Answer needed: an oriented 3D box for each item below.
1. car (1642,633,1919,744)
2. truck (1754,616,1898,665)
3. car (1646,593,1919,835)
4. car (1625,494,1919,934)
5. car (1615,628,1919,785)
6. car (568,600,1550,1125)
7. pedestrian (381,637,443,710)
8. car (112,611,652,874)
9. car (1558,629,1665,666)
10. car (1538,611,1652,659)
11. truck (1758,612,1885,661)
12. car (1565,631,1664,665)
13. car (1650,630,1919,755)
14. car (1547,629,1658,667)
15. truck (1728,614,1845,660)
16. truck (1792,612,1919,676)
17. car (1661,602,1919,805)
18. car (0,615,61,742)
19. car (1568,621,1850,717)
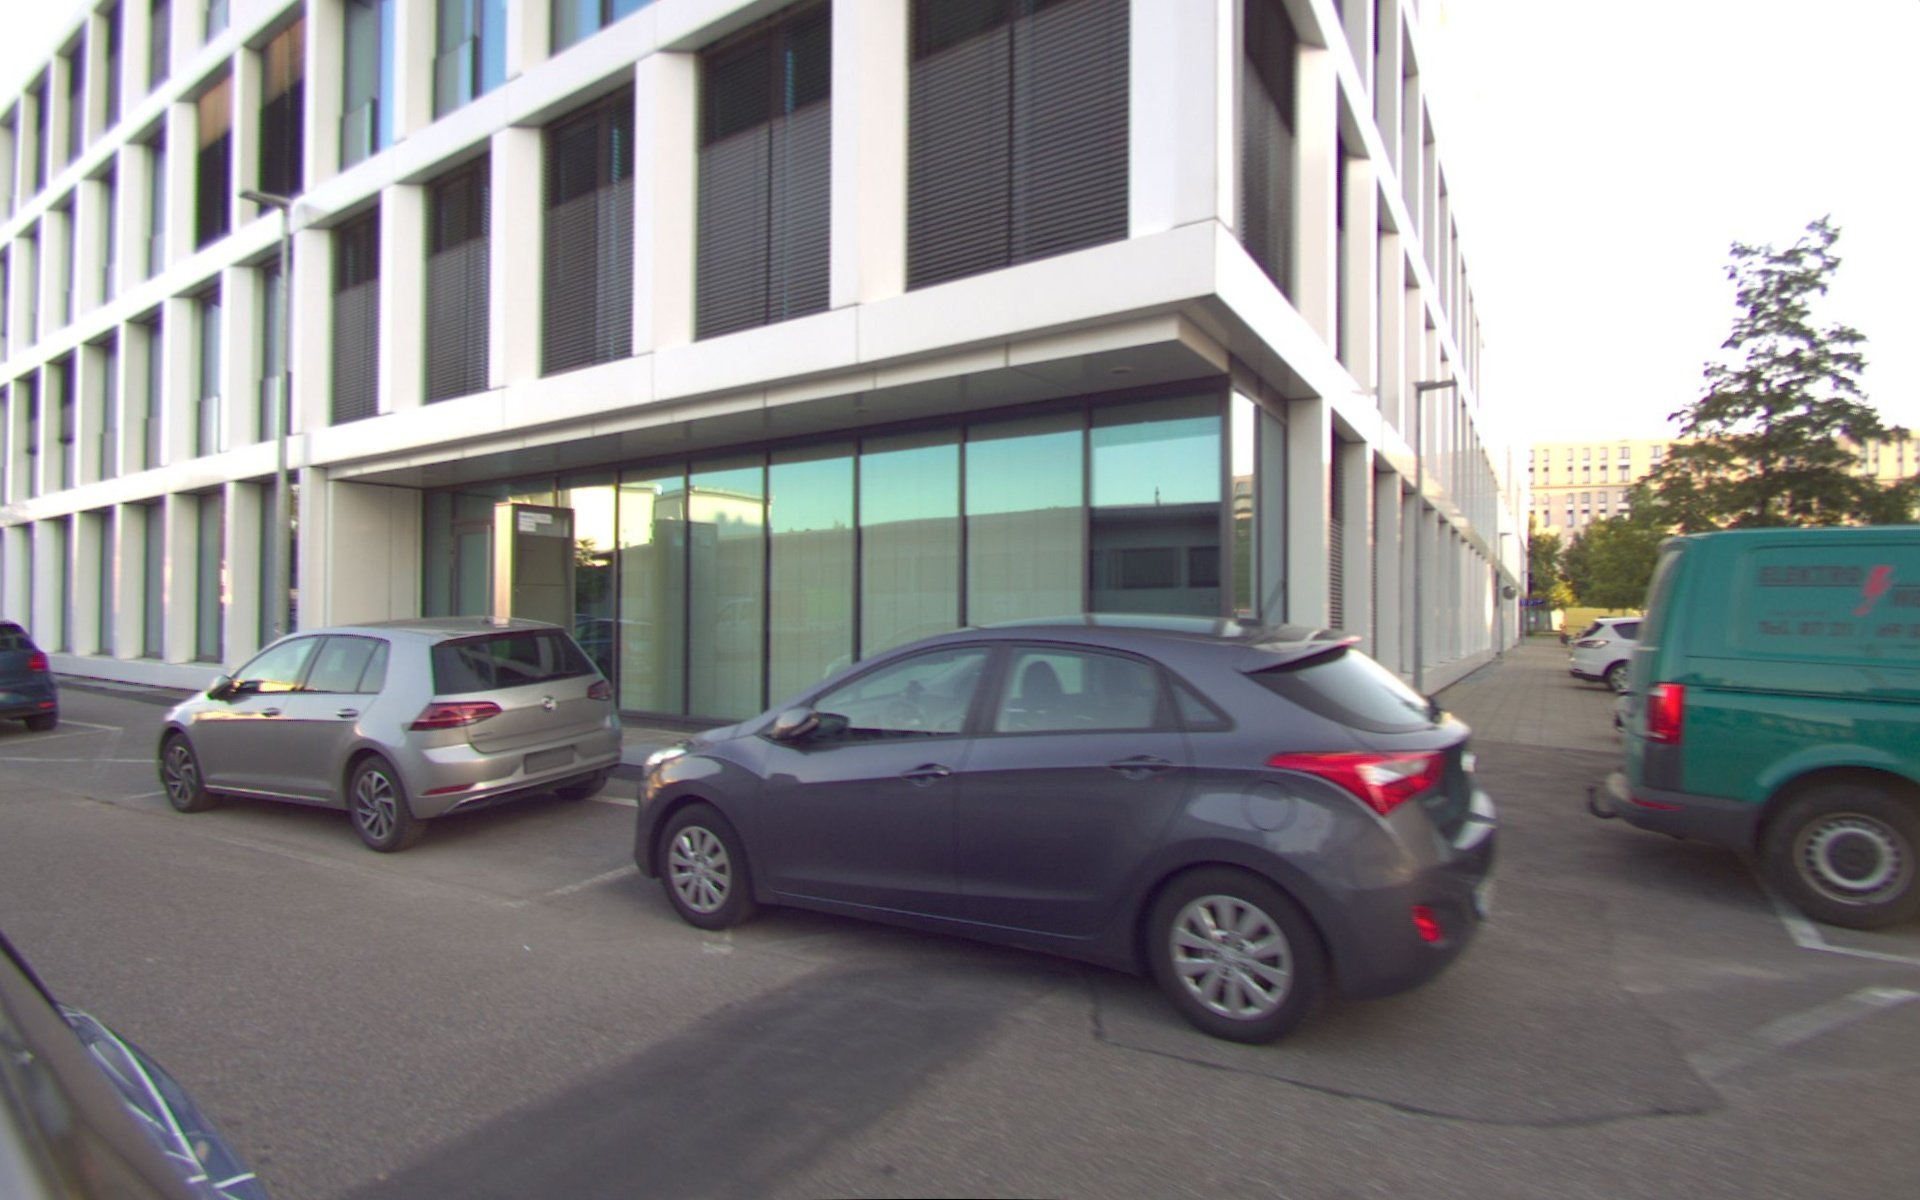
[{"bbox_3d":[13.359,1.344,15.985,4.186,1.467,1.716,2,-1,32],"label":"car"},{"bbox_3d":[51.380,2.465,60.285,5.978,2.517,2.314,-6,-5,31],"label":"truck"},{"bbox_3d":[7.424,0.806,7.006,4.317,1.561,1.766,2,-1,32],"label":"car"},{"bbox_3d":[5.914,0.548,4.682,4.674,1.995,1.784,0,-2,32],"label":"car"},{"bbox_3d":[9.659,1.119,11.012,4.186,1.467,1.716,2,-1,32],"label":"car"},{"bbox_3d":[0.268,0.769,4.793,4.317,1.490,1.766,-1,-1,32],"label":"car"},{"bbox_3d":[-7.971,1.051,14.724,0.629,1.026,0.581,-1,-2,38],"label":"pedestrian"},{"bbox_3d":[-4.508,0.875,7.764,4.167,1.490,1.699,-1,1,30],"label":"car"},{"bbox_3d":[31.327,2.263,48.780,4.211,1.521,1.716,2,-1,32],"label":"car"},{"bbox_3d":[36.975,2.021,59.134,5.493,2.554,1.718,2,-1,29],"label":"car"},{"bbox_3d":[58.121,2.490,68.453,5.978,2.868,2.314,-6,-5,31],"label":"truck"},{"bbox_3d":[33.889,2.479,52.530,4.211,1.521,1.716,2,-1,32],"label":"car"},{"bbox_3d":[12.020,1.227,13.823,4.186,1.467,1.716,2,-1,32],"label":"car"},{"bbox_3d":[29.481,2.167,46.536,4.211,1.521,1.716,2,-1,32],"label":"car"},{"bbox_3d":[59.539,2.725,73.076,5.978,2.868,2.314,-6,-5,31],"label":"truck"},{"bbox_3d":[45.460,2.184,50.146,5.978,2.868,2.314,-6,-5,31],"label":"truck"},{"bbox_3d":[8.959,0.931,9.025,4.317,1.672,1.716,2,-1,32],"label":"car"},{"bbox_3d":[-13.055,0.949,12.591,4.170,1.449,1.636,-1,1,32],"label":"car"},{"bbox_3d":[15.044,1.327,20.682,4.451,1.624,1.716,2,-1,32],"label":"car"}]
